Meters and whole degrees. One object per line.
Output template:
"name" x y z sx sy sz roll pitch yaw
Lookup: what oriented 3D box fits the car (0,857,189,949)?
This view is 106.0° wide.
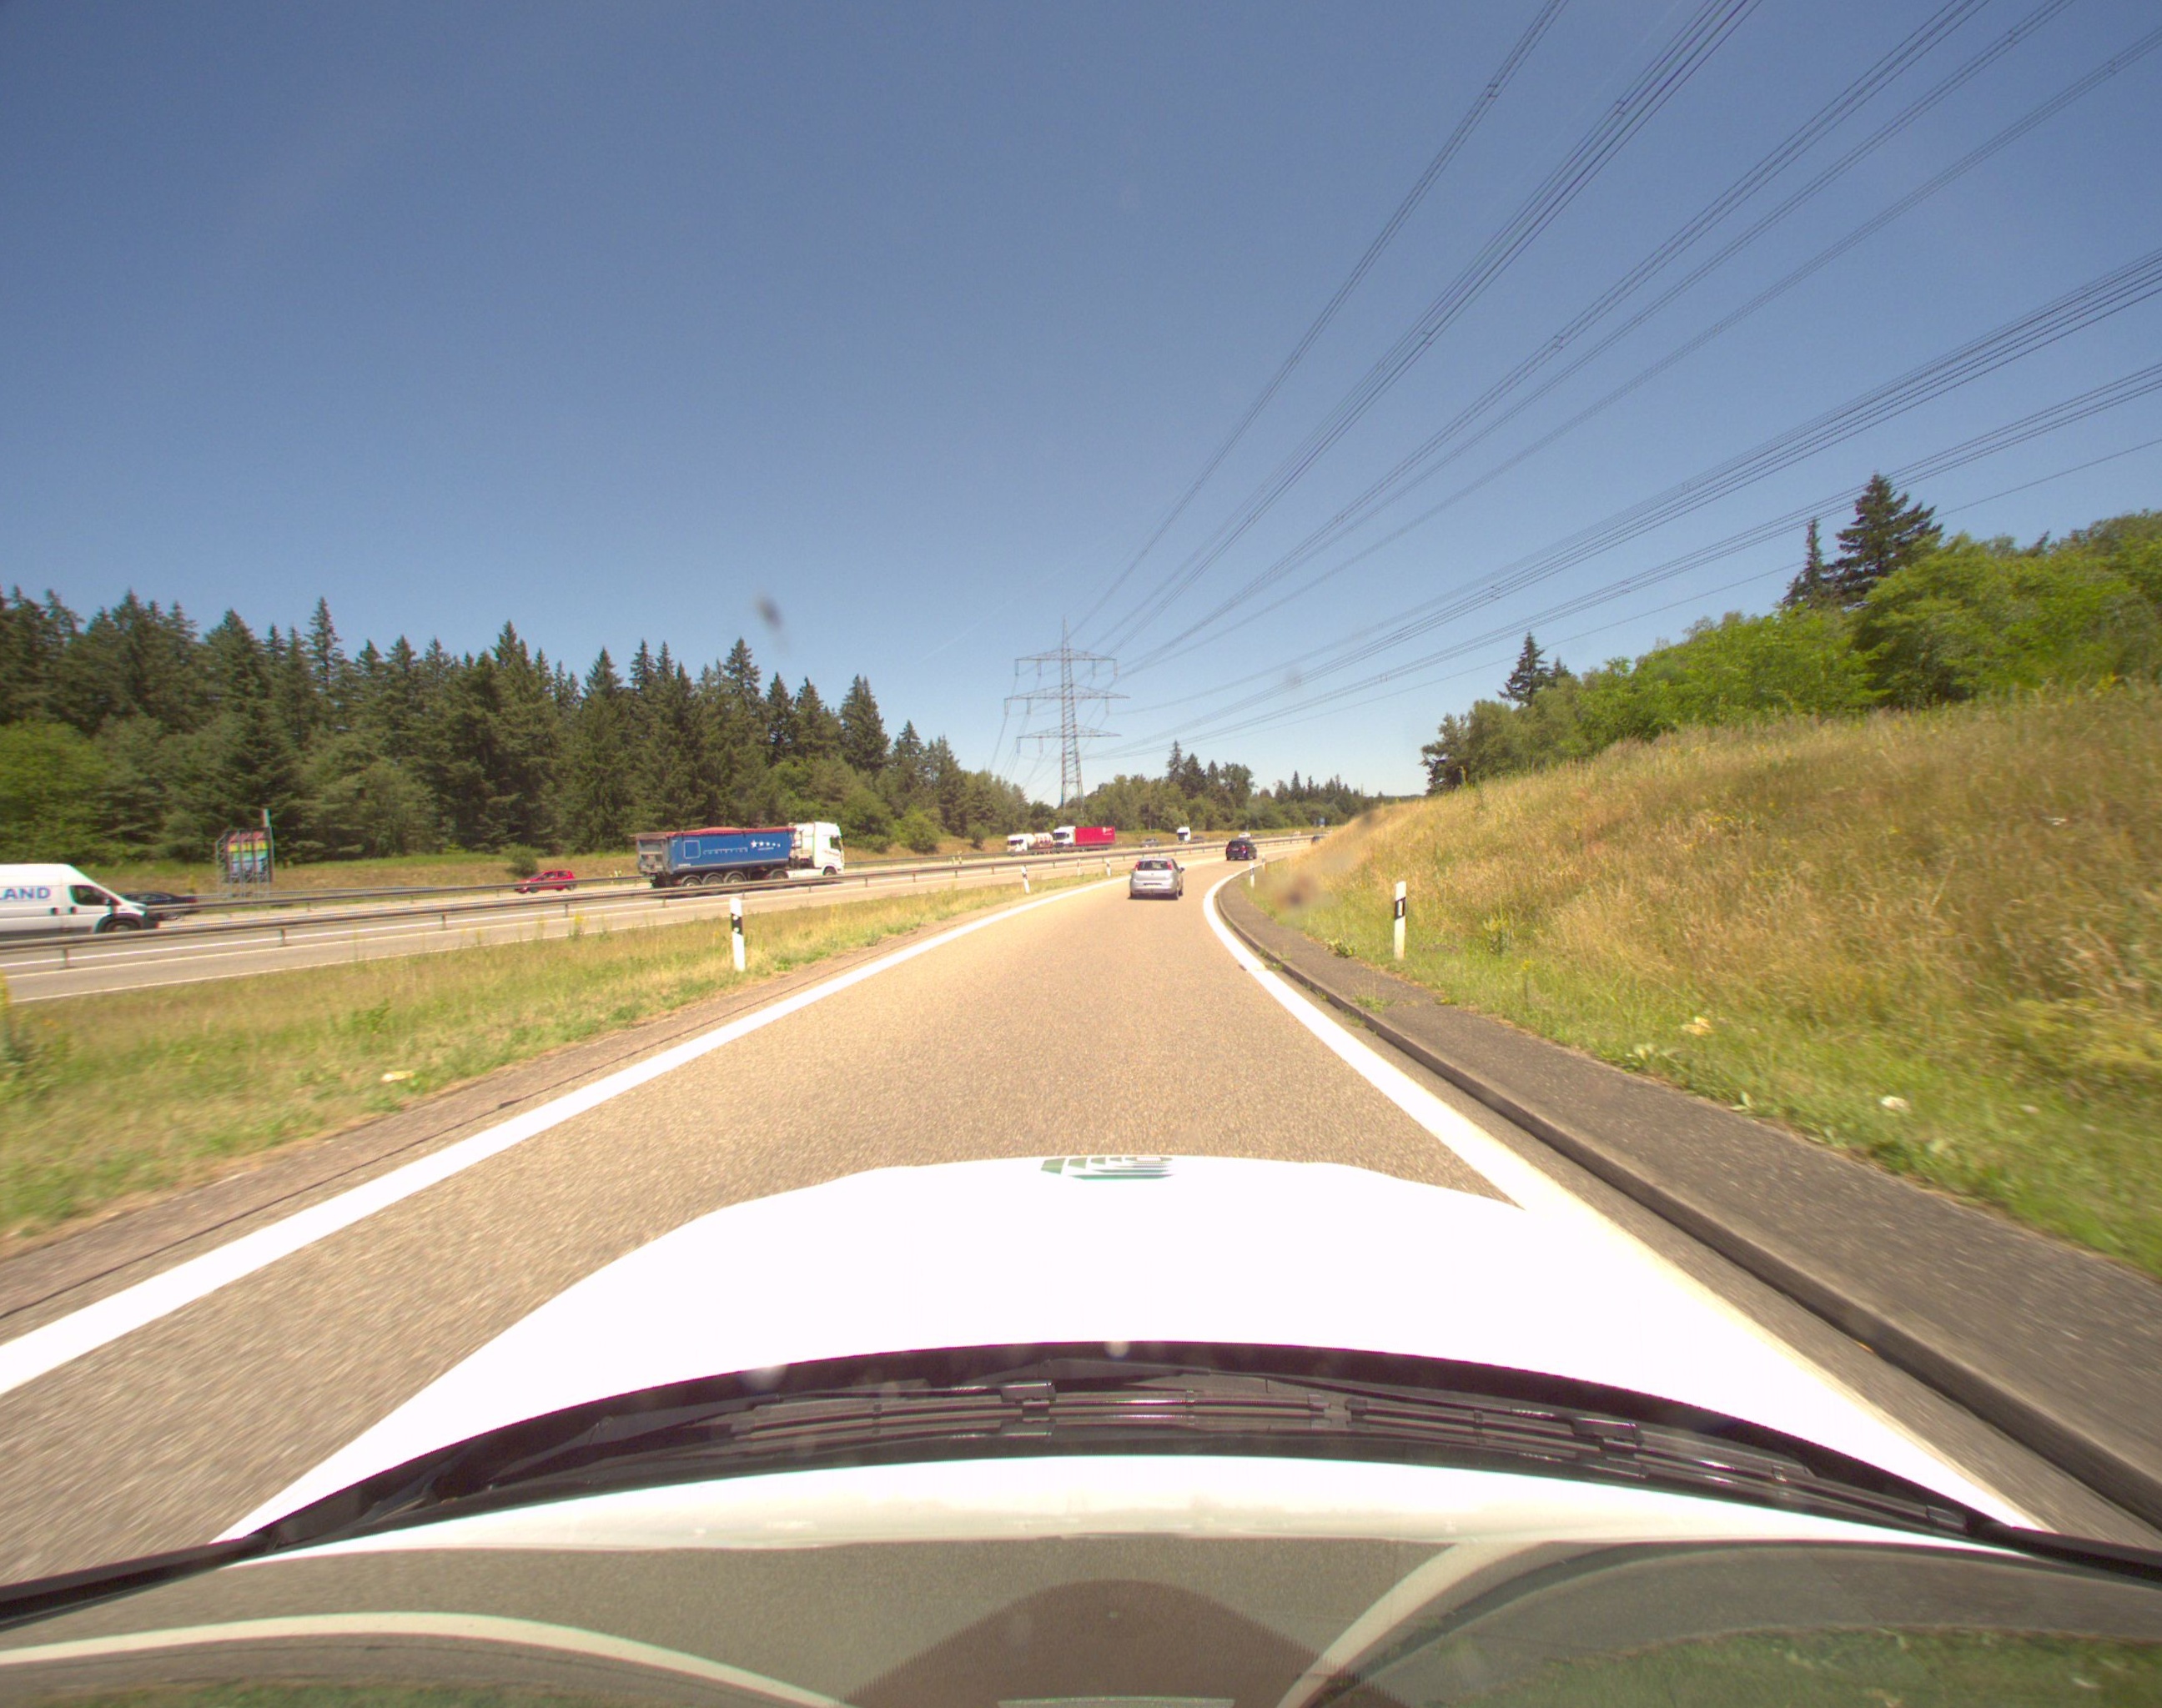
"car" -34.639 1.589 26.562 2.217 2.832 7.098 -1 0 30

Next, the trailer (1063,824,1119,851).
"trailer" 1.809 -2.767 132.592 2.517 3.796 13.830 -1 2 31

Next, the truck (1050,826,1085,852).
"truck" -2.055 -2.396 126.031 2.517 3.796 5.705 -1 2 30

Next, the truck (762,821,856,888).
"truck" -16.462 -0.034 49.479 2.730 3.806 4.651 -1 2 28

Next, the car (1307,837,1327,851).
"car" 30.117 -1.293 103.990 1.865 1.684 4.022 -5 0 23

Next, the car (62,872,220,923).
"car" -43.160 1.938 37.515 1.974 1.848 4.386 -2 2 30

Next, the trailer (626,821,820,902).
"trailer" -19.132 0.227 44.564 2.745 3.806 9.948 -1 2 28

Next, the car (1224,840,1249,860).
"car" 13.288 -0.347 69.475 1.692 1.676 3.414 -1 0 18

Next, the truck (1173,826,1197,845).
"truck" 25.105 -4.519 196.454 2.832 4.345 7.578 -1 0 31

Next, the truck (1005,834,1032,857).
"truck" -10.797 -1.457 140.516 2.741 3.796 4.026 -1 2 30

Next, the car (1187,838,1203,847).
"car" 22.434 -2.283 160.036 1.754 1.684 3.714 -1 0 32

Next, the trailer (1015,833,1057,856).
"trailer" -7.944 -1.747 145.375 2.745 3.797 8.994 -1 2 31

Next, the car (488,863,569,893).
"car" -37.376 1.582 55.225 1.942 1.728 4.025 -4 0 28

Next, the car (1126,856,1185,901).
"car" 2.723 0.822 29.251 1.695 1.481 3.409 0 0 12

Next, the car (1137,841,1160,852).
"car" 11.082 -1.238 133.404 1.754 1.684 4.856 -1 0 32
